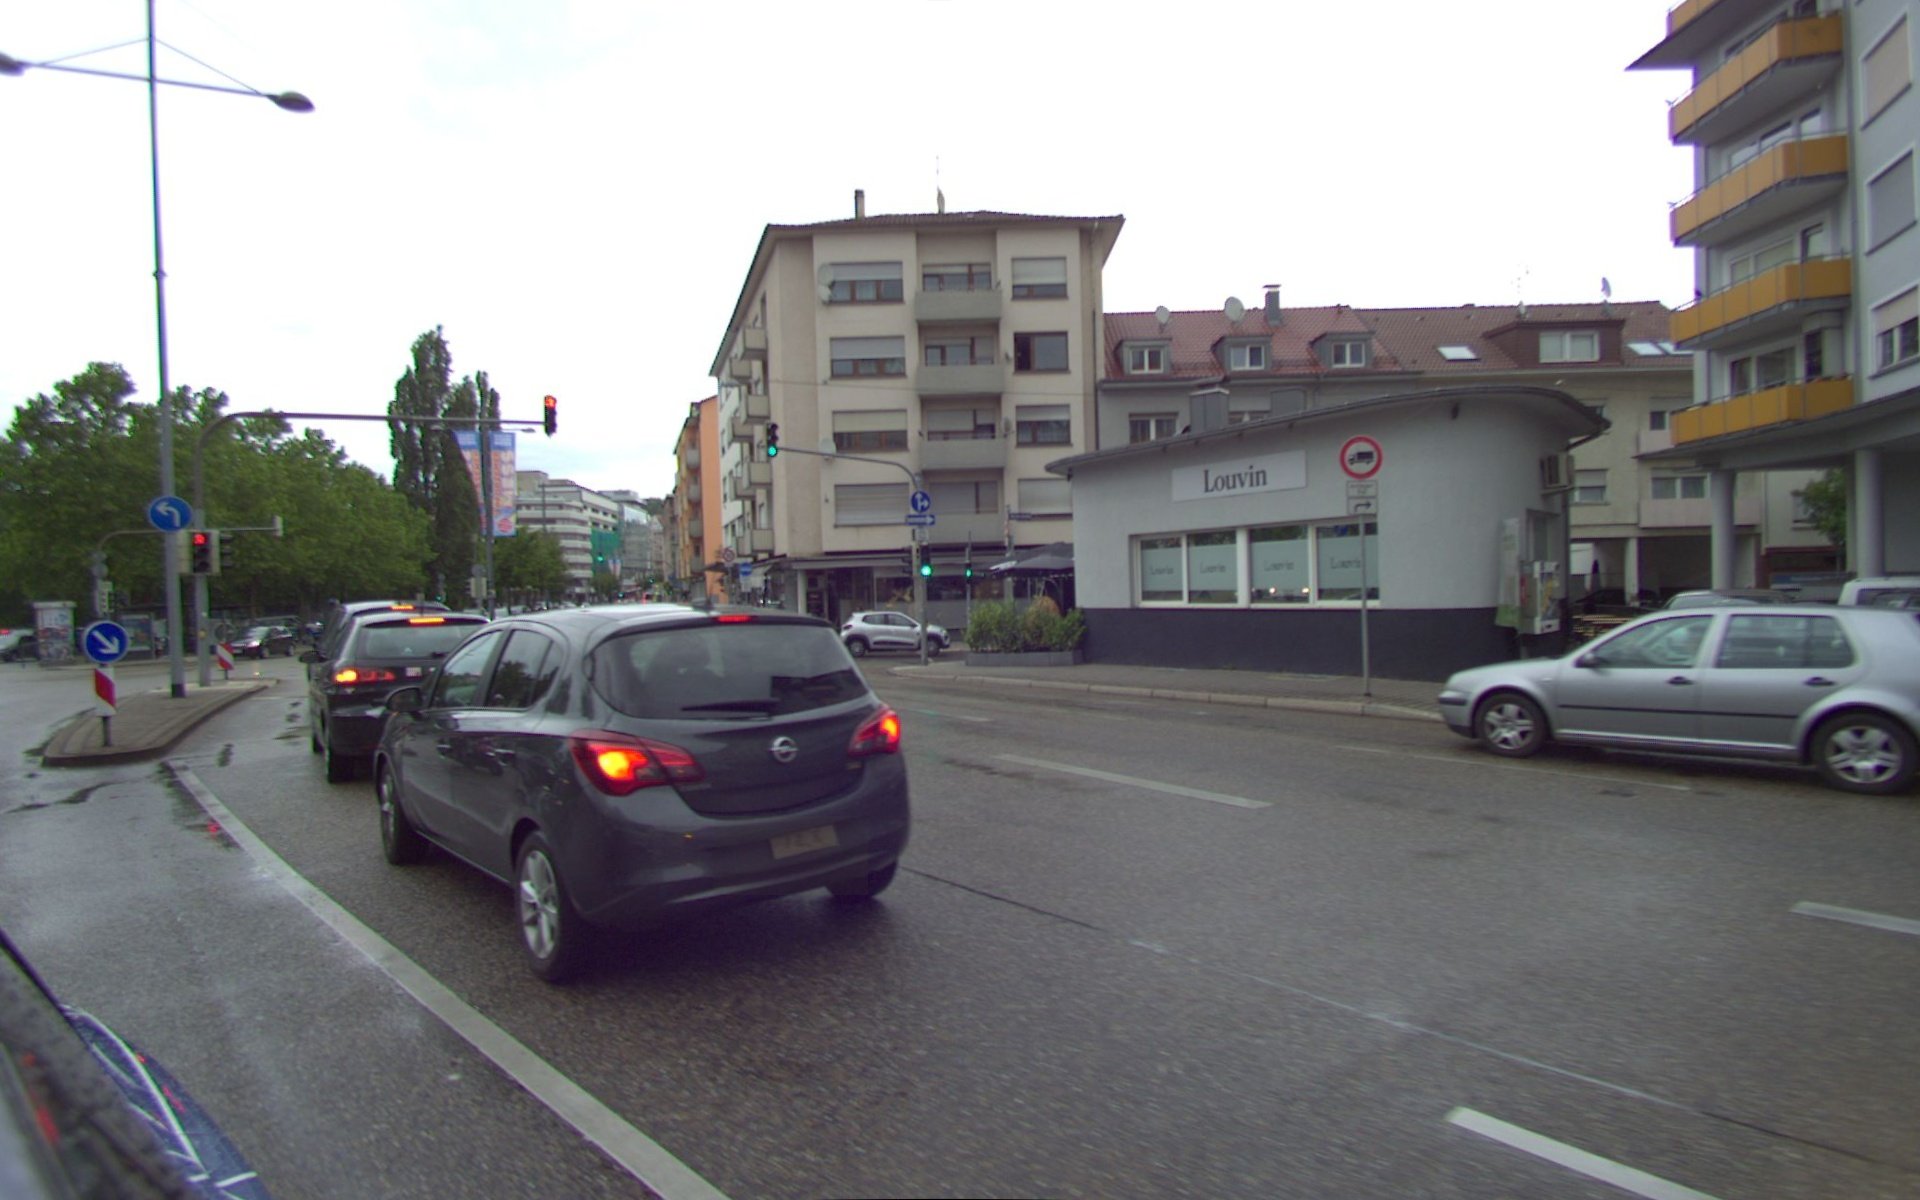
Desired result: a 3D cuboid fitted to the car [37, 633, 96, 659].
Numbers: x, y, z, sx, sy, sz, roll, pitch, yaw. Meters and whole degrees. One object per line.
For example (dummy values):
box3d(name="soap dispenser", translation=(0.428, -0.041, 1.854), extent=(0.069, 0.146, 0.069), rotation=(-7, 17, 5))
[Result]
box3d(name="car", translation=(-57.029, 2.905, 64.650), extent=(1.613, 1.432, 3.366), rotation=(-3, 1, -19))

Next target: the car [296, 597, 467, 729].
box3d(name="car", translation=(-8.584, 0.834, 14.832), extent=(1.732, 1.627, 4.221), rotation=(-1, -1, -36))

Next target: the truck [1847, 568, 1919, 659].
box3d(name="truck", translation=(21.732, 0.323, 20.552), extent=(1.770, 1.883, 5.426), rotation=(1, 0, -43))

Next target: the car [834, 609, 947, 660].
box3d(name="car", translation=(-2.281, 1.113, 33.071), extent=(3.574, 1.472, 1.543), rotation=(-2, 0, -5))

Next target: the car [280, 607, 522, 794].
box3d(name="car", translation=(-5.566, 0.836, 9.852), extent=(1.535, 1.408, 3.735), rotation=(-2, 0, -37))

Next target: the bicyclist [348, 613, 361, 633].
box3d(name="bicyclist", translation=(-55.939, 2.101, 93.453), extent=(0.971, 1.783, 0.799), rotation=(-3, 1, -33))

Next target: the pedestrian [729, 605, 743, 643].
box3d(name="pedestrian", translation=(-10.602, 1.118, 47.850), extent=(0.446, 1.743, 0.526), rotation=(-6, 1, -14))

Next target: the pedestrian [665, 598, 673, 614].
box3d(name="pedestrian", translation=(-32.029, 0.664, 111.497), extent=(0.754, 1.708, 0.803), rotation=(-2, 1, -20))

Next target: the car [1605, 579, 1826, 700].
box3d(name="car", translation=(10.411, 0.483, 13.854), extent=(3.767, 1.431, 1.799), rotation=(1, 0, -43))

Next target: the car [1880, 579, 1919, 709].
box3d(name="car", translation=(12.223, 0.511, 12.019), extent=(3.712, 1.431, 1.640), rotation=(1, -2, -43))

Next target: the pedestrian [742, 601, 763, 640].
box3d(name="pedestrian", translation=(-9.705, 0.966, 47.346), extent=(0.767, 1.742, 0.662), rotation=(-6, 1, -15))

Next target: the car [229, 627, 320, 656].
box3d(name="car", translation=(-46.217, 2.780, 68.305), extent=(4.675, 1.415, 1.867), rotation=(-5, 2, -14))

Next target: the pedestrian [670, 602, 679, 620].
box3d(name="pedestrian", translation=(-28.422, 1.129, 100.737), extent=(0.552, 1.741, 0.610), rotation=(-6, 2, -37))

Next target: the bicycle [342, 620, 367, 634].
box3d(name="bicycle", translation=(-55.933, 2.499, 93.497), extent=(1.901, 1.102, 0.652), rotation=(-3, 1, -33))

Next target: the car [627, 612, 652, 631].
box3d(name="car", translation=(-25.630, 1.699, 80.901), extent=(1.652, 1.402, 4.165), rotation=(0, -1, -20))

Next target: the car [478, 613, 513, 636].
box3d(name="car", translation=(-34.726, 1.811, 75.774), extent=(1.865, 1.588, 4.374), rotation=(0, -1, -18))

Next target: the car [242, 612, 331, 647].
box3d(name="car", translation=(-47.801, 2.075, 71.934), extent=(4.771, 1.956, 1.956), rotation=(-5, 2, -14))

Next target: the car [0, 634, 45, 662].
box3d(name="car", translation=(-51.360, 2.577, 54.280), extent=(1.709, 1.451, 4.458), rotation=(-1, -1, -18))

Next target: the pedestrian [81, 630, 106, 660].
box3d(name="pedestrian", translation=(-49.046, 2.528, 57.291), extent=(0.754, 1.645, 0.863), rotation=(-2, -1, -15))

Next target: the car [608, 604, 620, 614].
box3d(name="car", translation=(-51.760, 1.386, 151.427), extent=(1.580, 1.441, 3.958), rotation=(0, 0, -20))

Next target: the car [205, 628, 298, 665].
box3d(name="car", translation=(-30.780, 1.981, 44.119), extent=(1.866, 1.410, 4.372), rotation=(0, -1, -13))

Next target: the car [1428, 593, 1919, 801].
box3d(name="car", translation=(6.465, 0.669, 8.716), extent=(1.706, 1.376, 4.119), rotation=(-2, 2, -38))

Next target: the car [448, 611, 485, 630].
box3d(name="car", translation=(-41.009, 1.708, 84.171), extent=(1.866, 1.499, 4.372), rotation=(0, -1, -13))

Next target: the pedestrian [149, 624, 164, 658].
box3d(name="pedestrian", translation=(-41.312, 2.114, 52.035), extent=(0.532, 1.708, 0.556), rotation=(-2, -1, -32))

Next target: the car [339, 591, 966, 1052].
box3d(name="car", translation=(-1.917, 0.745, 5.337), extent=(1.624, 1.464, 3.995), rotation=(-2, 1, -41))

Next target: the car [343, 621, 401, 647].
box3d(name="car", translation=(-34.495, 1.970, 59.467), extent=(1.866, 1.432, 4.373), rotation=(0, -1, -15))

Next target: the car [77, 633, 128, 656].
box3d(name="car", translation=(-59.023, 3.051, 69.715), extent=(1.506, 1.438, 3.849), rotation=(-1, -1, -22))
